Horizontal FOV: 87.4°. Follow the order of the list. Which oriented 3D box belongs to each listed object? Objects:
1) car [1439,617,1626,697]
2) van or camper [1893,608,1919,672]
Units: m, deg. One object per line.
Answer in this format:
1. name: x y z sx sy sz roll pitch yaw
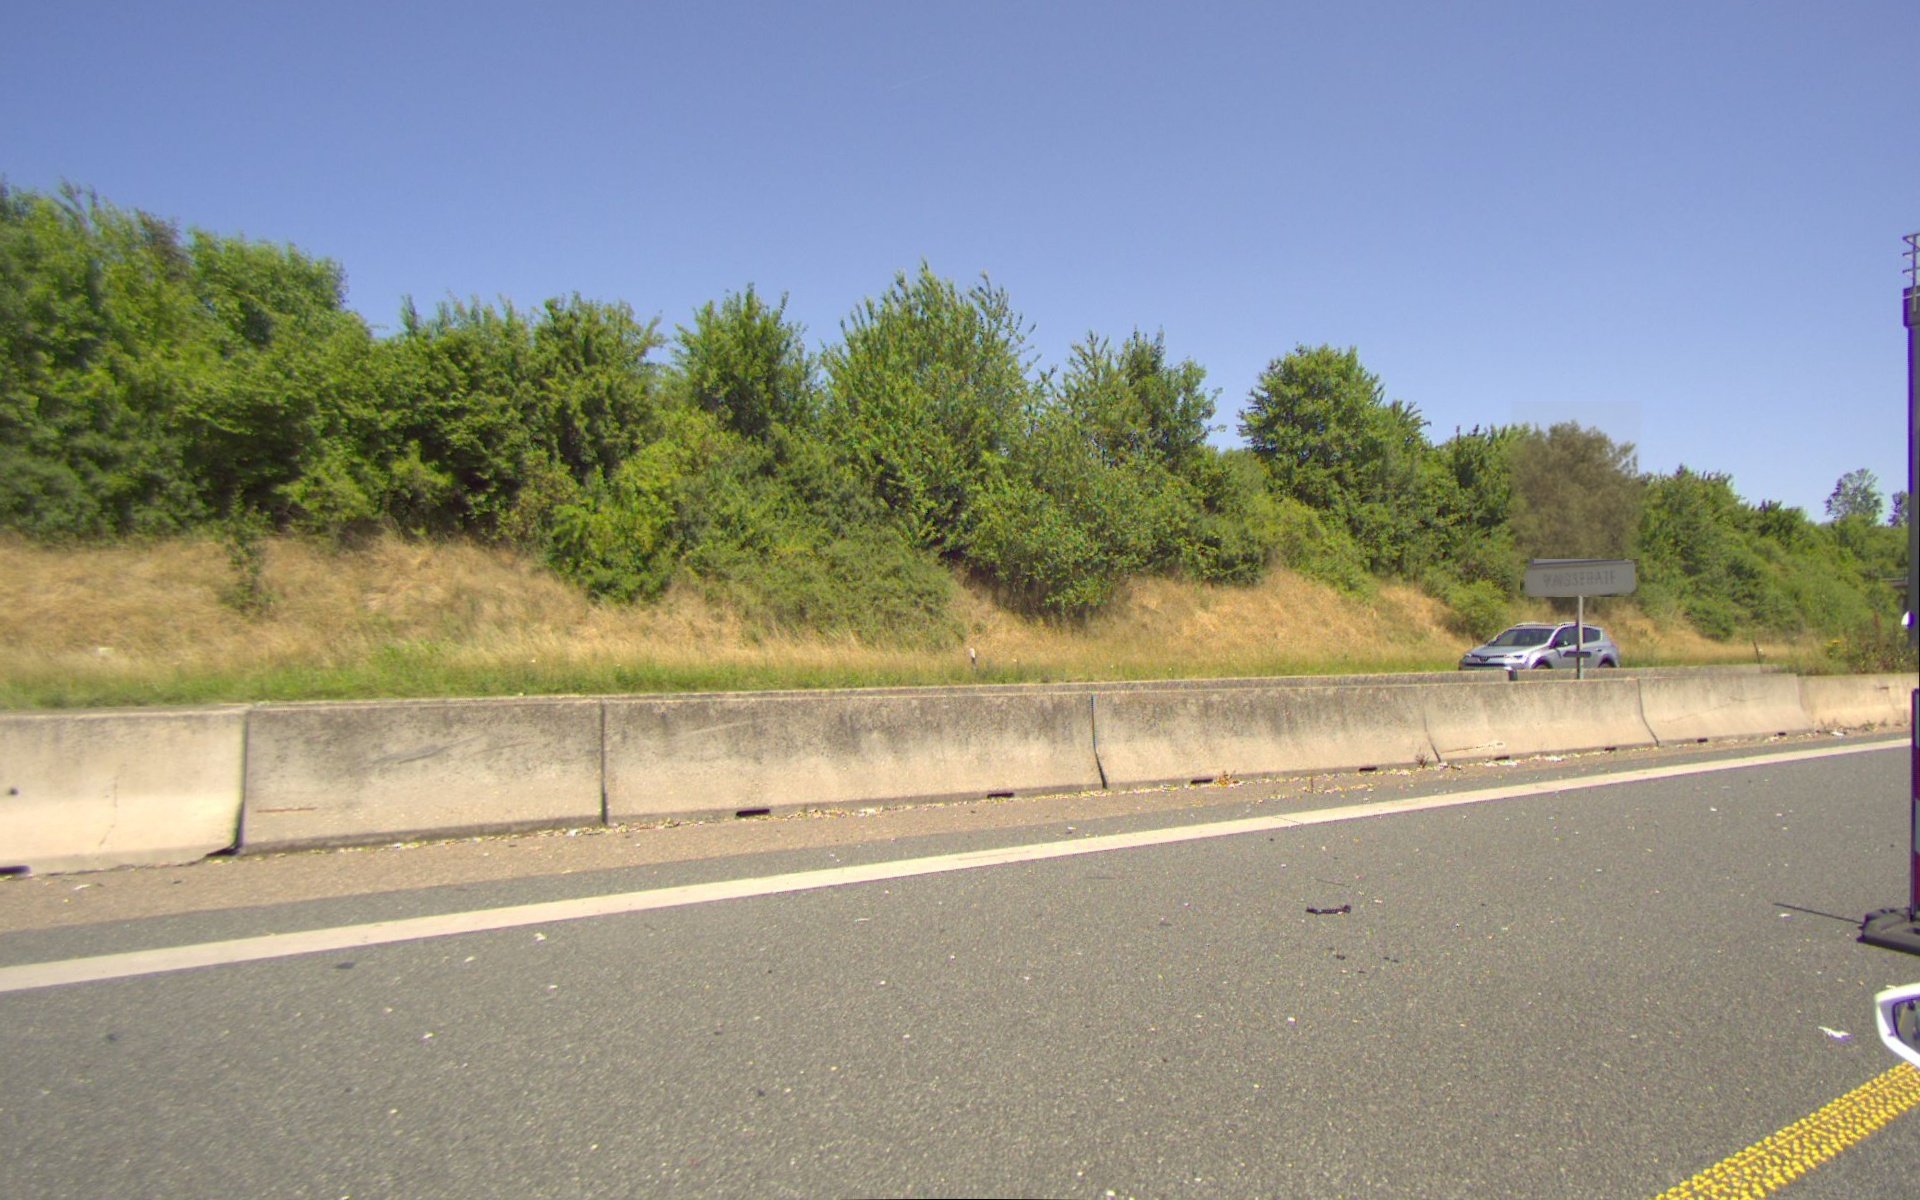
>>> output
1. car: 14.012 1.351 24.538 4.568 1.806 1.984 2 -2 -30
2. van or camper: 51.191 2.071 51.841 7.537 3.188 2.424 2 -1 -30
